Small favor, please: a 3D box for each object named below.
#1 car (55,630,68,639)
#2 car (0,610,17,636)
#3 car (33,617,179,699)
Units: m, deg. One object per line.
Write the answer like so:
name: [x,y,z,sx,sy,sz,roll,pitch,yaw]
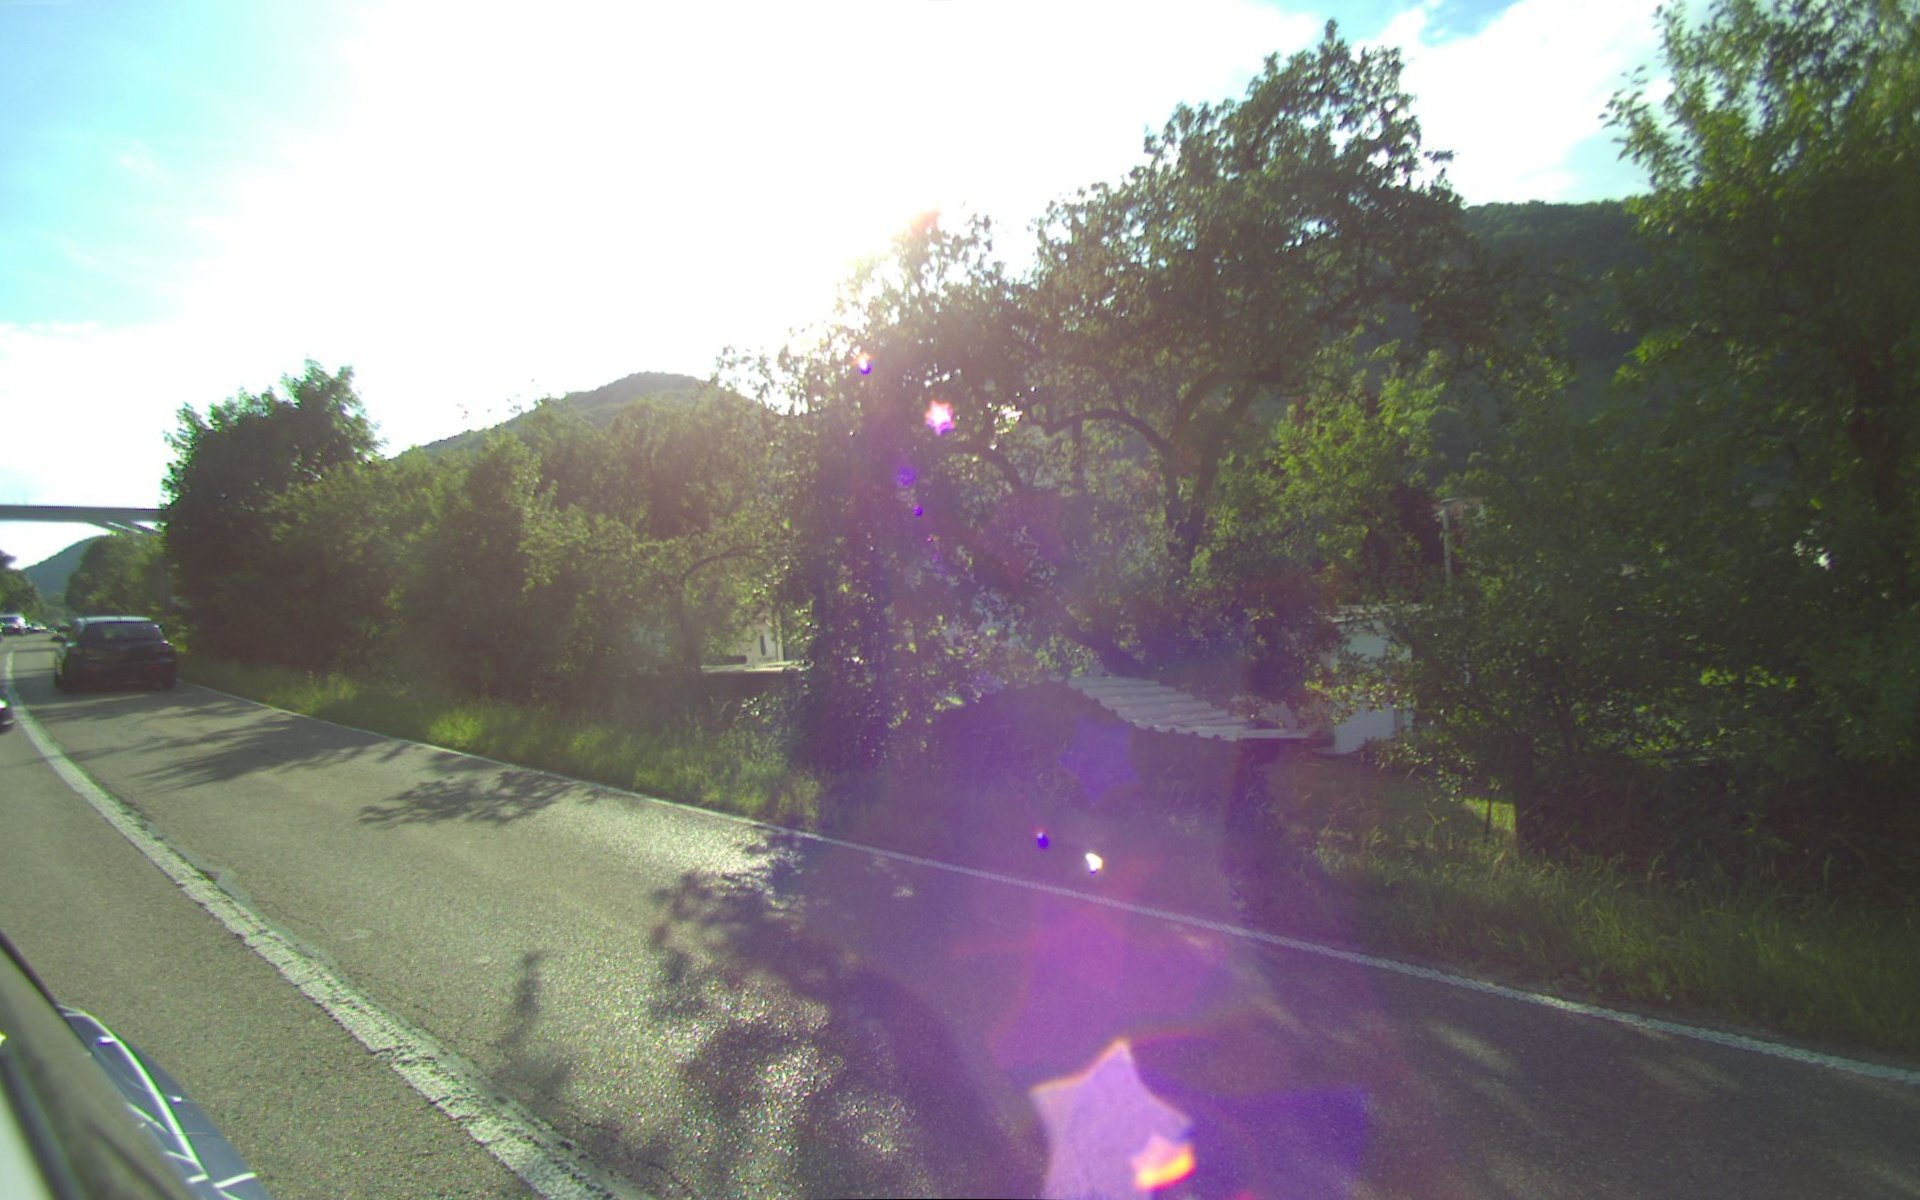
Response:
car: [-142.937,5.452,160.988,1.575,1.364,4.208,-1,0,-42]
car: [-76.485,1.826,80.663,1.970,2.029,4.004,-1,0,-43]
car: [-17.197,1.086,20.316,4.049,1.441,1.686,-1,0,42]
